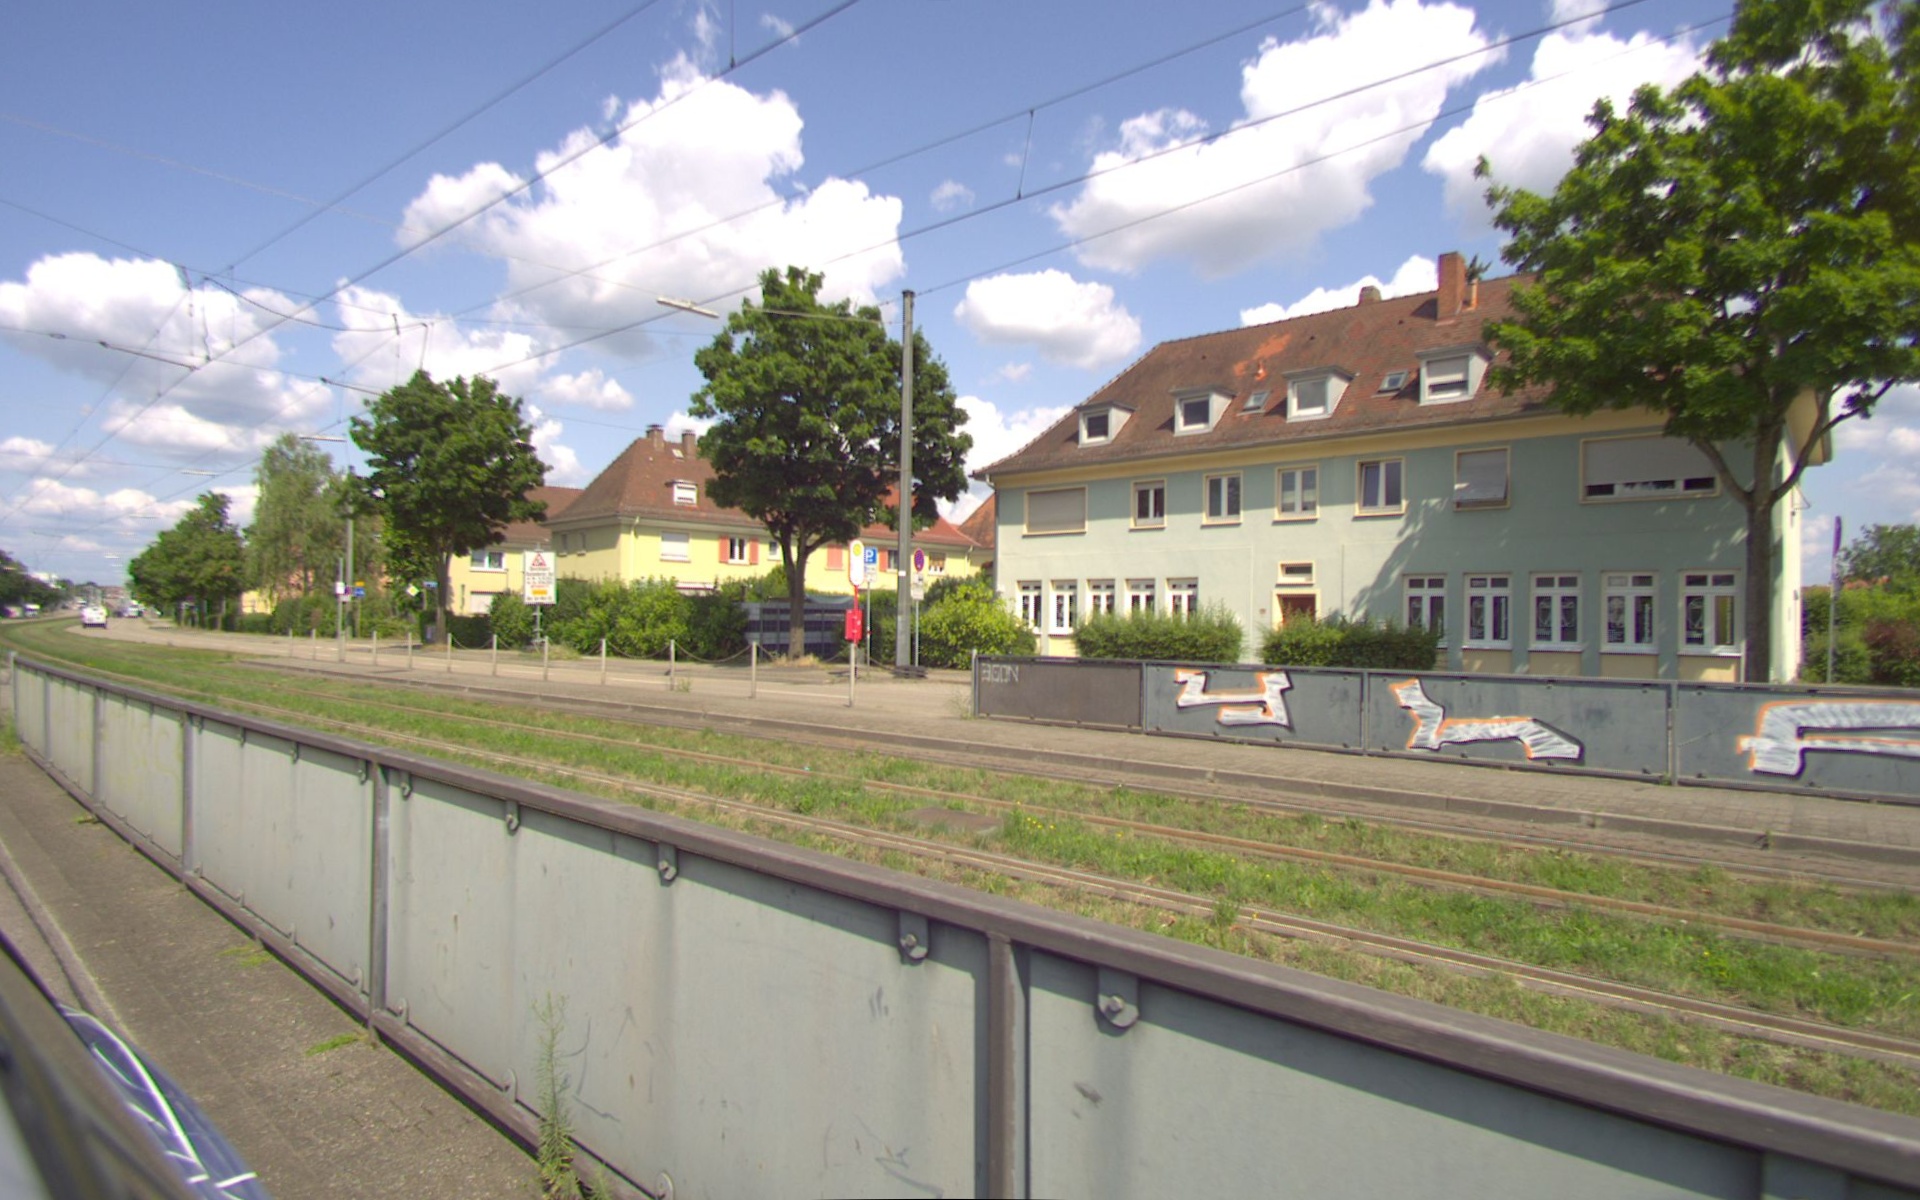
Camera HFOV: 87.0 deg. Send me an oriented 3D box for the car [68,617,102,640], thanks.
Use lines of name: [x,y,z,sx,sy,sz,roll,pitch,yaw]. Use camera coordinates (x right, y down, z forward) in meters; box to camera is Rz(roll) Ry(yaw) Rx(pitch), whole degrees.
car: [-96.641,3.148,111.781,5.332,2.390,2.172,0,-2,42]
